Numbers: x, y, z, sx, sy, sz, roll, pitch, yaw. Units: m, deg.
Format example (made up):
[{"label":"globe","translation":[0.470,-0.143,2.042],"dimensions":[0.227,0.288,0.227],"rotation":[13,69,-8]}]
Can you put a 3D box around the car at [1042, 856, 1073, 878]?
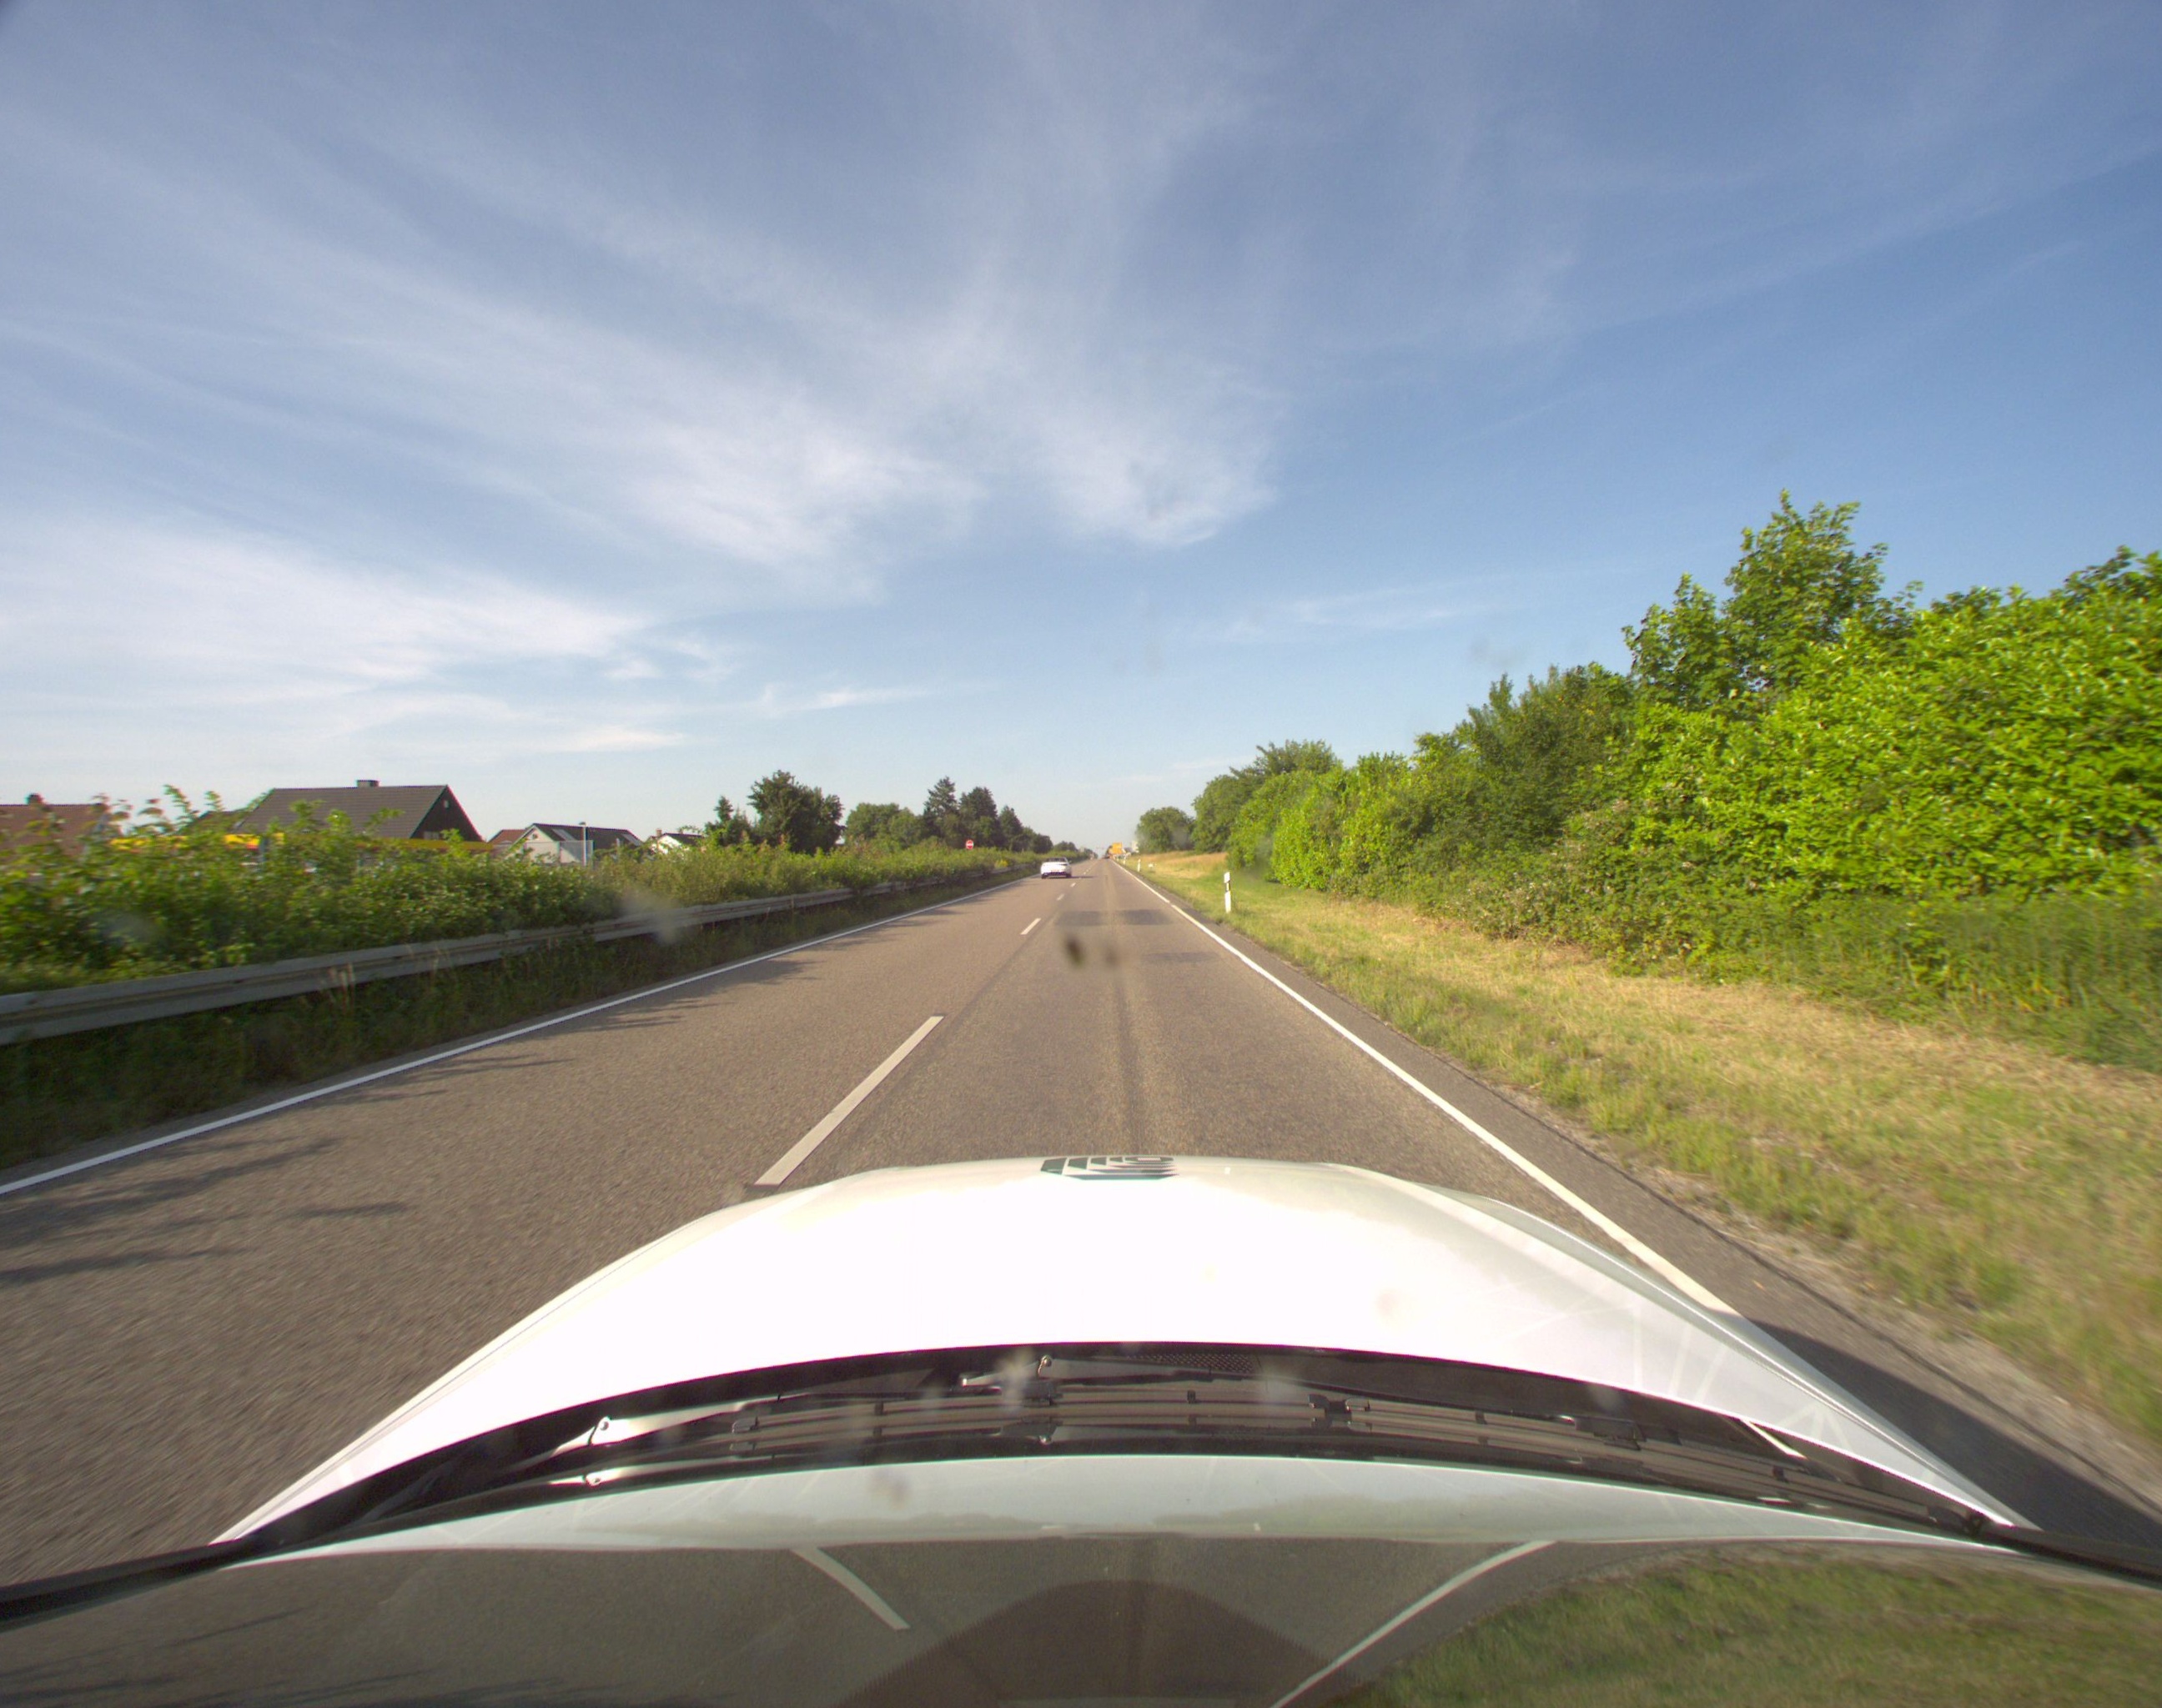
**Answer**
[{"label":"car","translation":[-1.503,0.839,53.914],"dimensions":[1.764,1.337,4.952],"rotation":[0,-1,2]}]
